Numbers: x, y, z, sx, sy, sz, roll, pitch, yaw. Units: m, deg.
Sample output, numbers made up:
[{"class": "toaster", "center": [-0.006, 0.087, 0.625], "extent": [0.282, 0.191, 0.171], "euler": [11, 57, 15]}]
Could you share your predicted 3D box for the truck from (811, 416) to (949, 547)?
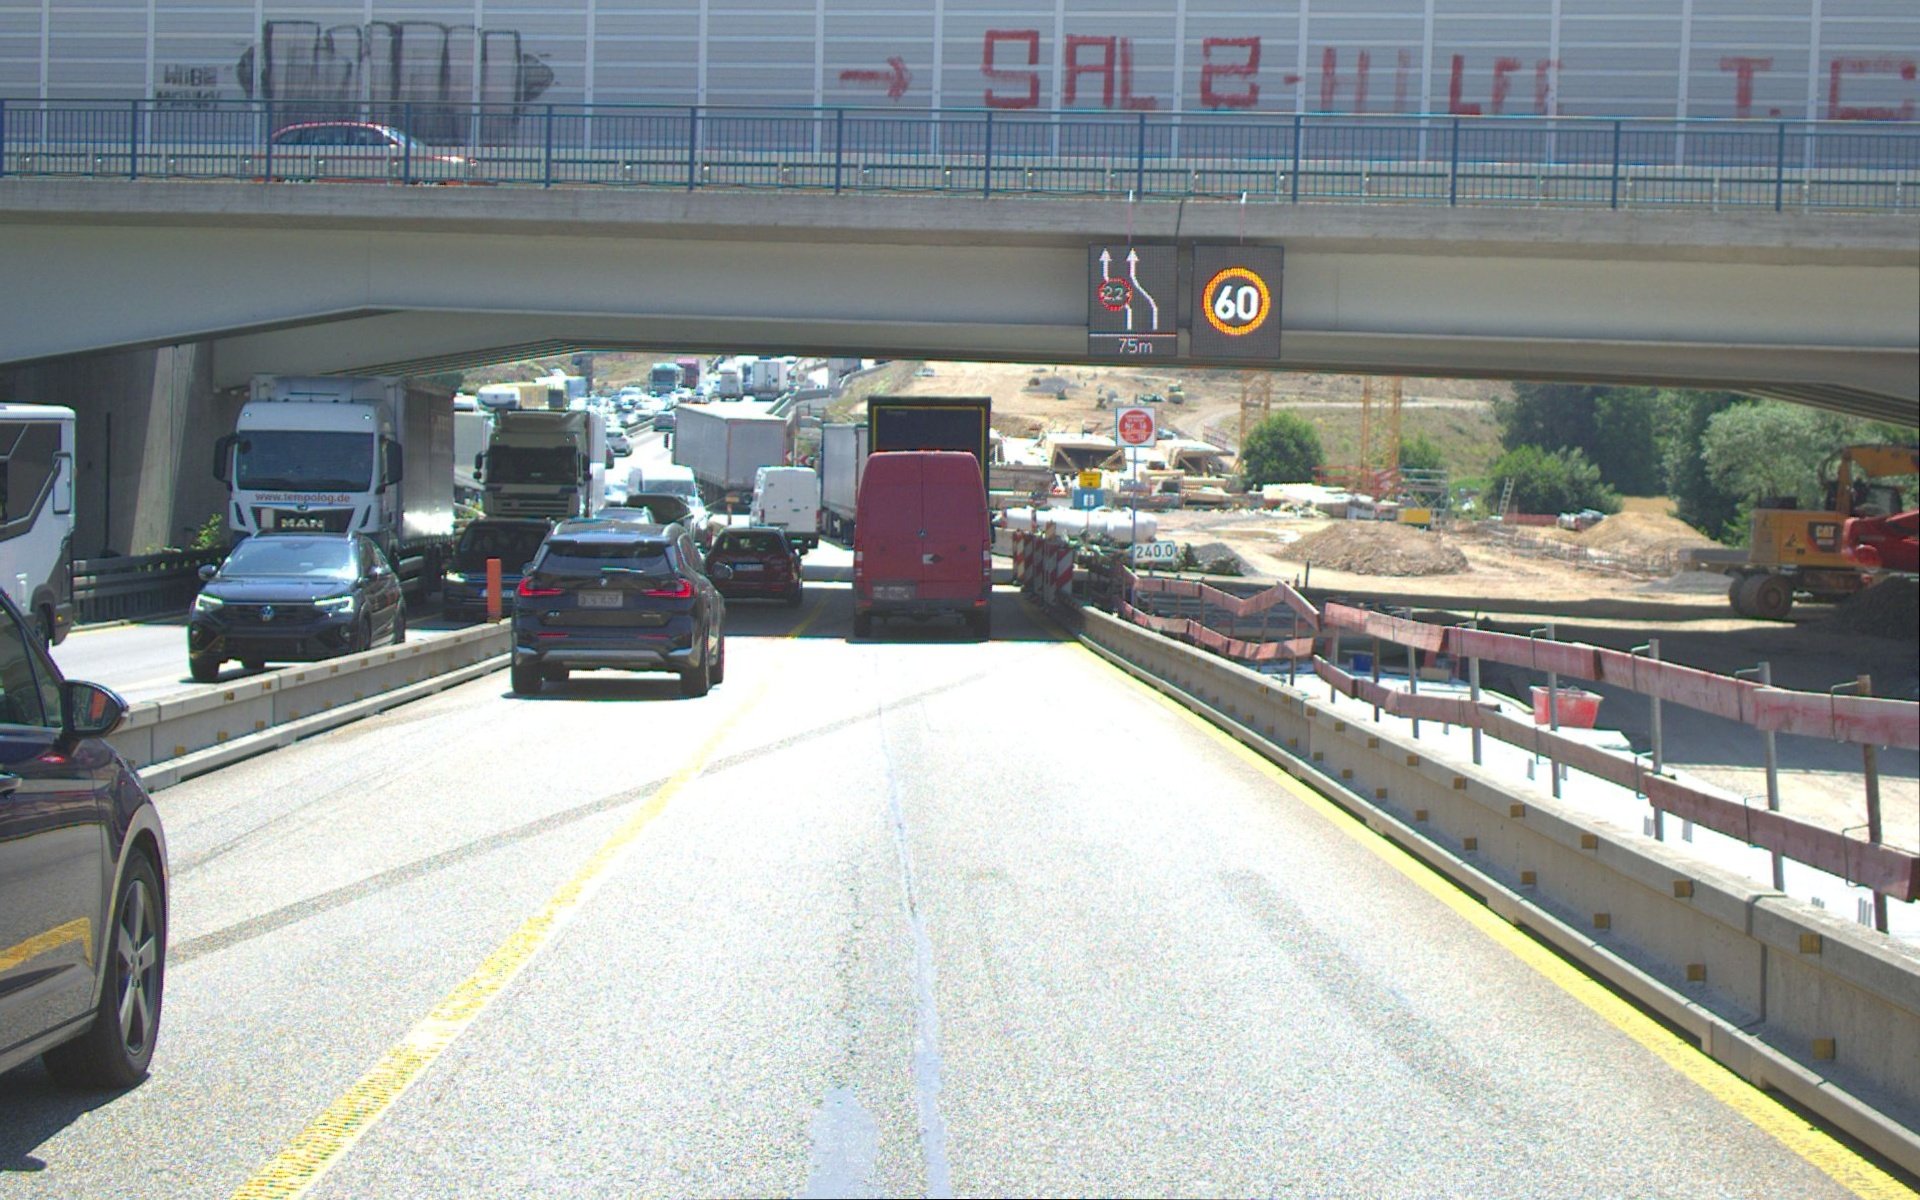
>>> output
[{"class": "truck", "center": [-2.659, -3.918, 112.122], "extent": [3.181, 3.975, 6.745], "euler": [0, 4, -13]}]

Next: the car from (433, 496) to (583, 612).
[{"class": "car", "center": [-7.190, -0.751, 55.035], "extent": [1.855, 1.750, 4.609], "euler": [1, 1, -1]}]

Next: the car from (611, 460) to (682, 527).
[{"class": "car", "center": [-11.266, -3.827, 123.159], "extent": [1.980, 2.322, 6.060], "euler": [1, 2, -10]}]

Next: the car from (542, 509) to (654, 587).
[{"class": "car", "center": [-7.343, -1.047, 70.082], "extent": [1.855, 1.522, 4.774], "euler": [1, 1, -1]}]

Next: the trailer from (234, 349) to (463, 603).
[{"class": "trailer", "center": [-10.679, -2.086, 60.858], "extent": [2.812, 4.159, 8.244], "euler": [1, 0, -2]}]

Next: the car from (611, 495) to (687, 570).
[{"class": "car", "center": [-8.325, -1.843, 92.323], "extent": [1.799, 1.926, 4.969], "euler": [1, 2, -3]}]

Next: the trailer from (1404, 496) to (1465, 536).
[{"class": "trailer", "center": [18.918, -3.358, 137.173], "extent": [1.623, 1.481, 3.827], "euler": [1, 2, -4]}]

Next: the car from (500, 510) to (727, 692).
[{"class": "car", "center": [-3.305, -0.034, 33.481], "extent": [1.833, 1.630, 4.390], "euler": [1, 1, -1]}]

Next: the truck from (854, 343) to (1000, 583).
[{"class": "truck", "center": [-0.696, -3.069, 74.590], "extent": [2.945, 4.927, 6.743], "euler": [1, 4, 0]}]

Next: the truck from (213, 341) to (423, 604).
[{"class": "truck", "center": [-10.514, -2.040, 56.674], "extent": [2.798, 4.136, 4.074], "euler": [1, 0, -2]}]

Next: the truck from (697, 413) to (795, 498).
[{"class": "truck", "center": [-9.362, -6.214, 149.210], "extent": [3.218, 3.349, 8.943], "euler": [1, 1, -10]}]

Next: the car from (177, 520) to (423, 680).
[{"class": "car", "center": [-6.802, -0.045, 35.807], "extent": [1.753, 1.512, 4.187], "euler": [1, 2, 0]}]

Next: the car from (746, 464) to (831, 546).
[{"class": "car", "center": [-5.565, -3.092, 111.094], "extent": [2.264, 2.346, 5.162], "euler": [1, 4, -8]}]

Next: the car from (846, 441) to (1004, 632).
[{"class": "car", "center": [-0.500, -0.904, 50.292], "extent": [2.150, 2.602, 5.439], "euler": [1, 0, 0]}]

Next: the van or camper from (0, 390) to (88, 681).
[{"class": "van or camper", "center": [-9.968, -0.614, 32.151], "extent": [2.123, 2.695, 6.456], "euler": [1, 1, -1]}]

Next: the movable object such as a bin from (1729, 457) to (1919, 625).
[{"class": "movable object such as a bin", "center": [19.316, -1.305, 76.890], "extent": [3.883, 3.530, 2.902], "euler": [3, 1, 10]}]

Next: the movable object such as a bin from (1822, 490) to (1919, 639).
[{"class": "movable object such as a bin", "center": [21.211, -0.676, 72.822], "extent": [5.240, 3.046, 2.496], "euler": [2, 1, 3]}]

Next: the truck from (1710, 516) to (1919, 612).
[{"class": "truck", "center": [21.500, -0.846, 82.232], "extent": [6.522, 2.066, 2.665], "euler": [2, 2, 3]}]

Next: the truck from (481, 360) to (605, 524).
[{"class": "truck", "center": [-11.119, -4.161, 92.010], "extent": [2.659, 4.156, 5.187], "euler": [1, 0, 0]}]

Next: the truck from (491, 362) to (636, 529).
[{"class": "truck", "center": [-11.255, -4.275, 98.793], "extent": [2.769, 4.298, 13.491], "euler": [1, 1, -1]}]

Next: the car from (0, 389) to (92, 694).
[{"class": "car", "center": [-9.996, -0.556, 32.091], "extent": [2.275, 2.811, 6.559], "euler": [1, 1, -2]}]

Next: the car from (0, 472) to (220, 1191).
[{"class": "car", "center": [-3.033, 0.515, 7.743], "extent": [1.734, 1.630, 4.390], "euler": [1, 1, 1]}]

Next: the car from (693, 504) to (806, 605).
[{"class": "car", "center": [-3.862, -0.859, 63.627], "extent": [1.833, 1.771, 4.390], "euler": [1, 1, 0]}]

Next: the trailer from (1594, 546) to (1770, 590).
[{"class": "trailer", "center": [21.159, -0.944, 100.907], "extent": [4.713, 1.215, 2.056], "euler": [1, 0, -1]}]
